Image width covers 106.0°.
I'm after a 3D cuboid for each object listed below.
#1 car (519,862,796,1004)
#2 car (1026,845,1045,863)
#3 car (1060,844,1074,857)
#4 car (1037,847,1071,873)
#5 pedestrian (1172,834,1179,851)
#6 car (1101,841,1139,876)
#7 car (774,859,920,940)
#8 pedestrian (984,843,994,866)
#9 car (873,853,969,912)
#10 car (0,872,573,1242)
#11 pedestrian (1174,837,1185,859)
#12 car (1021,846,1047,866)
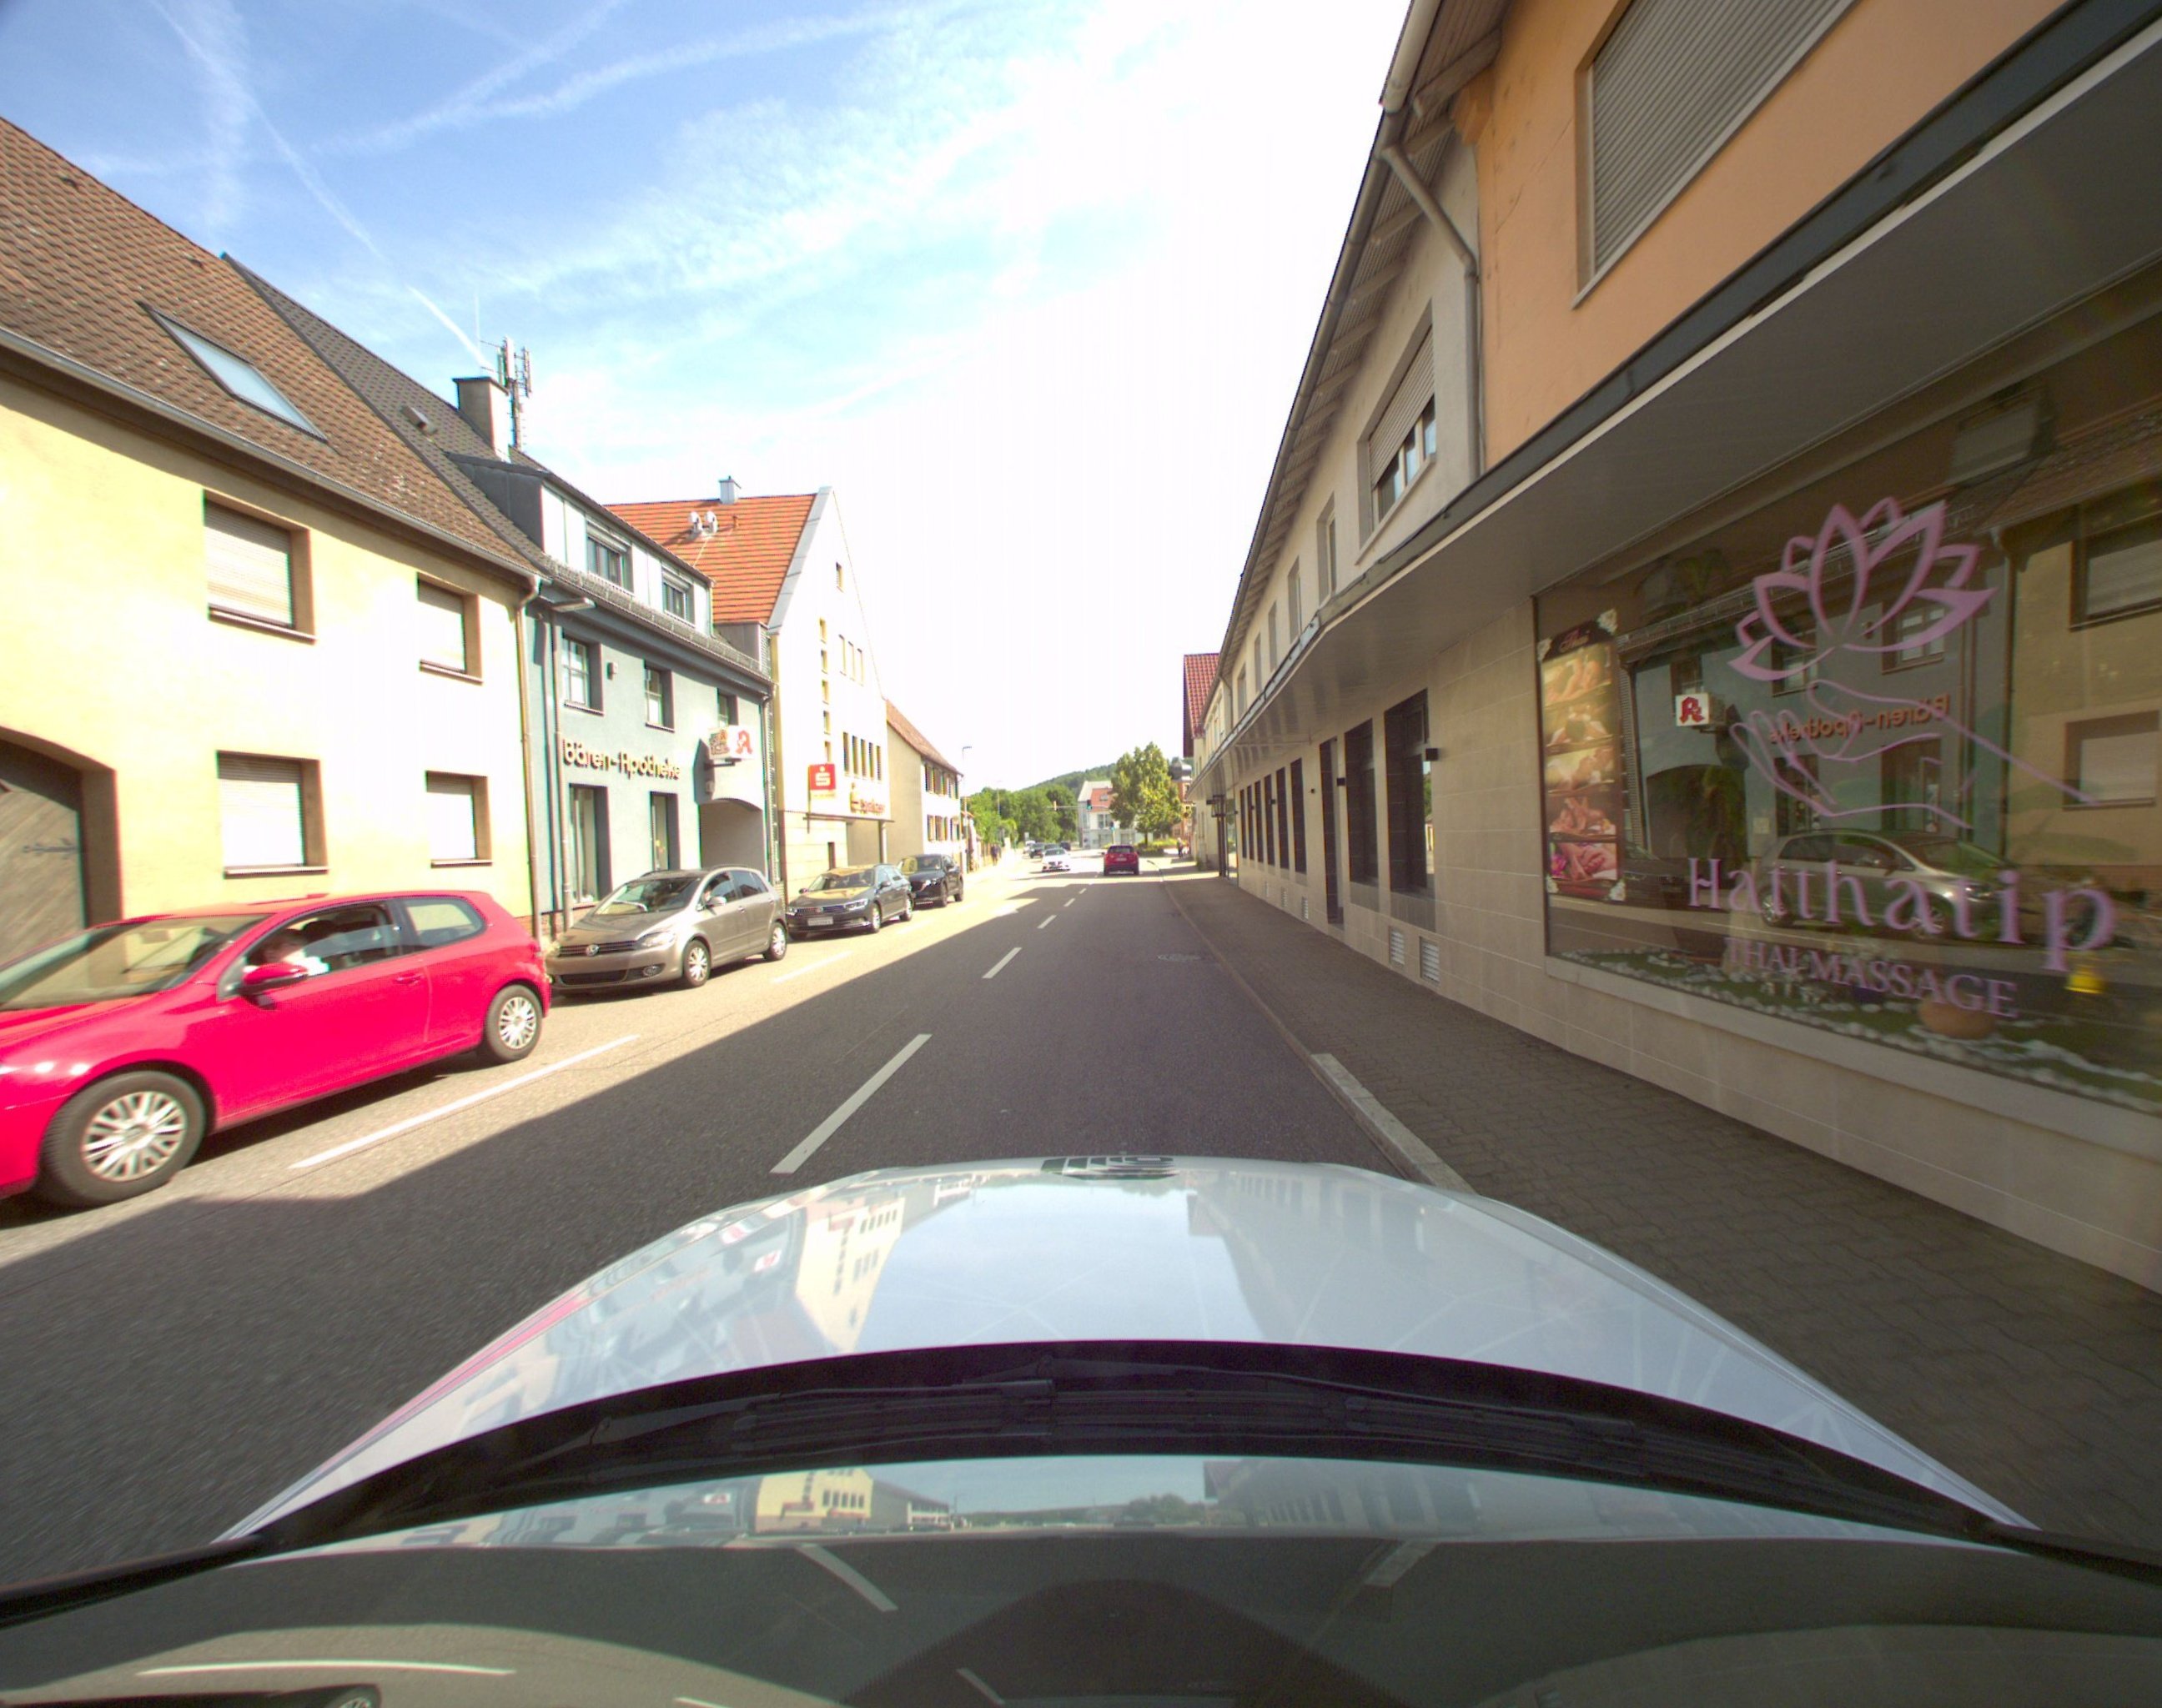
[{"bbox_3d":[-5.708,0.952,11.631,1.623,1.520,4.022,-4,0,2],"label":"car"},{"bbox_3d":[-4.964,0.005,89.303,1.768,1.784,3.840,-3,-2,1],"label":"car"},{"bbox_3d":[-2.232,-0.530,131.064,1.924,1.794,3.959,-3,-2,4],"label":"car"},{"bbox_3d":[-1.760,0.362,52.375,1.983,1.444,5.095,-3,0,-3],"label":"car"},{"bbox_3d":[11.263,-1.377,96.930,0.641,1.879,0.652,-3,-2,-3],"label":"pedestrian"},{"bbox_3d":[2.115,0.216,43.231,1.850,1.714,4.428,-2,0,5],"label":"car"},{"bbox_3d":[-5.096,0.930,18.428,1.782,1.450,4.427,-4,0,2],"label":"car"},{"bbox_3d":[-7.649,0.026,67.711,0.664,1.824,0.798,-3,-2,-3],"label":"pedestrian"},{"bbox_3d":[-4.937,0.818,25.828,1.860,1.589,4.521,-4,0,2],"label":"car"},{"bbox_3d":[-5.507,0.972,5.256,1.753,1.492,4.077,-4,0,1],"label":"car"},{"bbox_3d":[7.775,-0.485,64.163,0.641,1.707,0.699,-3,-2,-3],"label":"pedestrian"},{"bbox_3d":[-4.255,0.140,74.410,1.831,1.532,4.257,-3,2,3],"label":"car"}]
